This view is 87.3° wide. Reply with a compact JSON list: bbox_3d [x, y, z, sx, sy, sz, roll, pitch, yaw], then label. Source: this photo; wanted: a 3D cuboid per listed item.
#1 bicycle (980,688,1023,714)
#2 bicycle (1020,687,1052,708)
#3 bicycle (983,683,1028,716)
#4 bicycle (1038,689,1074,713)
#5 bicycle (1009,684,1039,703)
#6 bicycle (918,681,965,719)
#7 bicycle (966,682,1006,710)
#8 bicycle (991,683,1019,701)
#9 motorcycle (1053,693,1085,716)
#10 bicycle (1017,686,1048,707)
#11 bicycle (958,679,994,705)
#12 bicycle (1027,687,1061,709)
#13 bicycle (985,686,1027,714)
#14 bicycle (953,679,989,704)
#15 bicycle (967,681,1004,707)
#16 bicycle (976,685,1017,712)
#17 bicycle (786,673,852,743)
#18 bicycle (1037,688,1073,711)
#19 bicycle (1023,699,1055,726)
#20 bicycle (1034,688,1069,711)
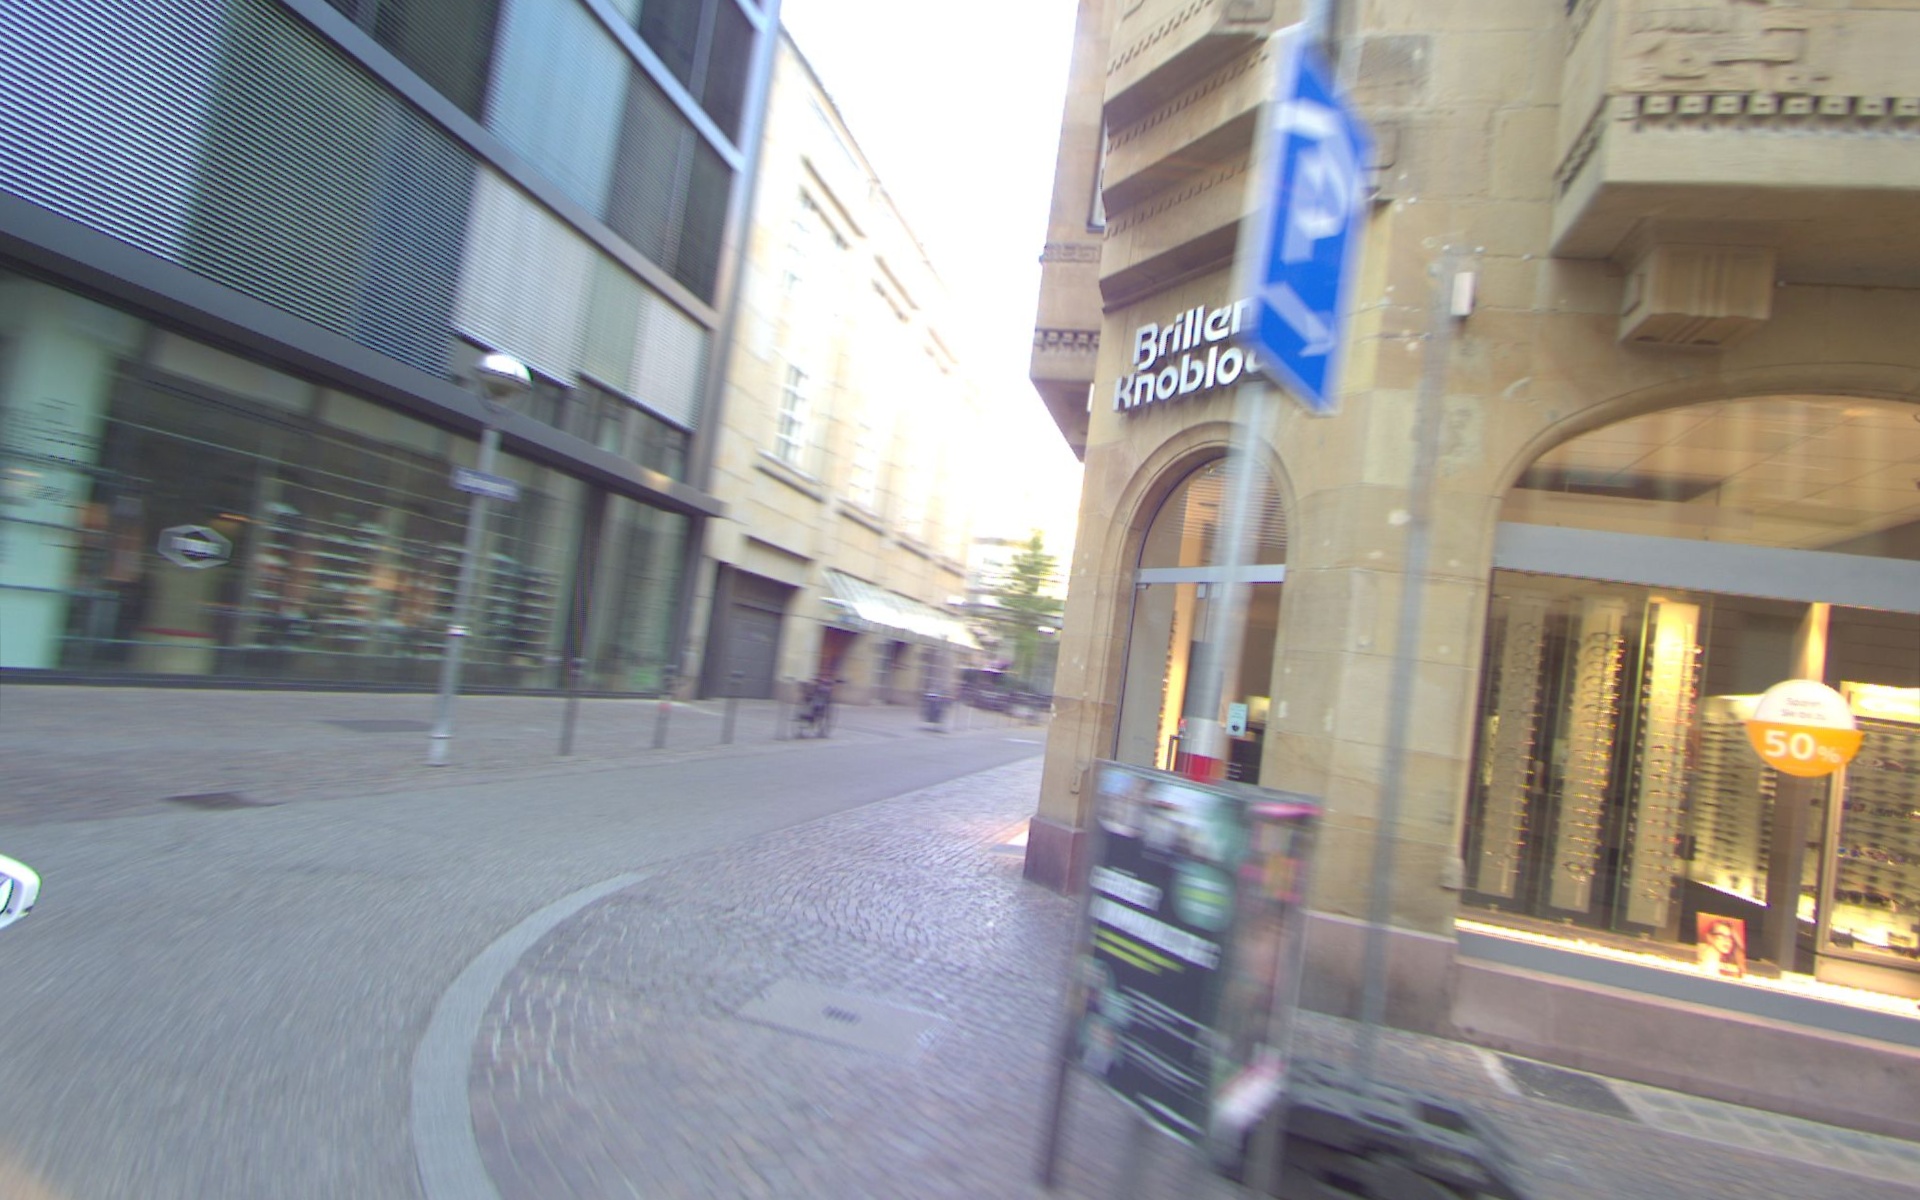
[{"bbox_3d":[2.014,4.905,48.756,1.885,1.005,0.696,8,-3,-5],"label":"bicycle"},{"bbox_3d":[5.164,6.611,68.468,1.964,1.195,0.694,6,-3,-4],"label":"bicycle"},{"bbox_3d":[2.122,4.658,47.183,1.885,1.274,0.809,8,-3,-5],"label":"bicycle"},{"bbox_3d":[5.790,6.076,60.423,1.964,1.195,0.696,6,-3,-4],"label":"bicycle"},{"bbox_3d":[4.605,6.706,72.180,1.964,1.195,0.694,6,-3,-4],"label":"bicycle"},{"bbox_3d":[-0.624,3.398,34.171,0.684,1.123,1.776,5,-4,30],"label":"bicycle"},{"bbox_3d":[1.354,4.950,52.055,1.884,1.195,0.697,8,-3,-2],"label":"bicycle"},{"bbox_3d":[3.488,7.149,78.334,1.964,1.195,0.694,6,-3,-4],"label":"bicycle"},{"bbox_3d":[6.339,6.093,58.630,1.719,1.168,0.595,6,-3,-2],"label":"motorcycle"},{"bbox_3d":[5.010,6.662,69.622,1.964,1.195,0.694,6,-3,-4],"label":"bicycle"},{"bbox_3d":[0.898,5.207,56.766,1.884,1.195,0.697,8,-3,-2],"label":"bicycle"},{"bbox_3d":[5.451,6.319,65.183,1.964,1.195,0.803,6,-3,-4],"label":"bicycle"},{"bbox_3d":[2.251,4.938,49.646,1.885,1.113,0.696,8,-3,-5],"label":"bicycle"},{"bbox_3d":[0.621,5.248,57.920,1.884,1.195,0.697,8,-3,-2],"label":"bicycle"},{"bbox_3d":[1.388,5.210,55.867,1.884,1.195,0.697,8,-3,-2],"label":"bicycle"},{"bbox_3d":[1.851,4.982,50.984,1.884,1.113,0.697,8,-3,-2],"label":"bicycle"},{"bbox_3d":[-2.497,1.924,18.003,0.404,1.144,1.935,7,-4,12],"label":"bicycle"},{"bbox_3d":[5.796,6.085,61.484,1.964,1.195,0.696,6,-3,-4],"label":"bicycle"},{"bbox_3d":[3.187,4.516,40.450,0.498,0.977,1.695,5,-4,30],"label":"bicycle"},{"bbox_3d":[5.651,6.170,62.450,1.964,1.195,0.803,6,-3,-4],"label":"bicycle"}]
